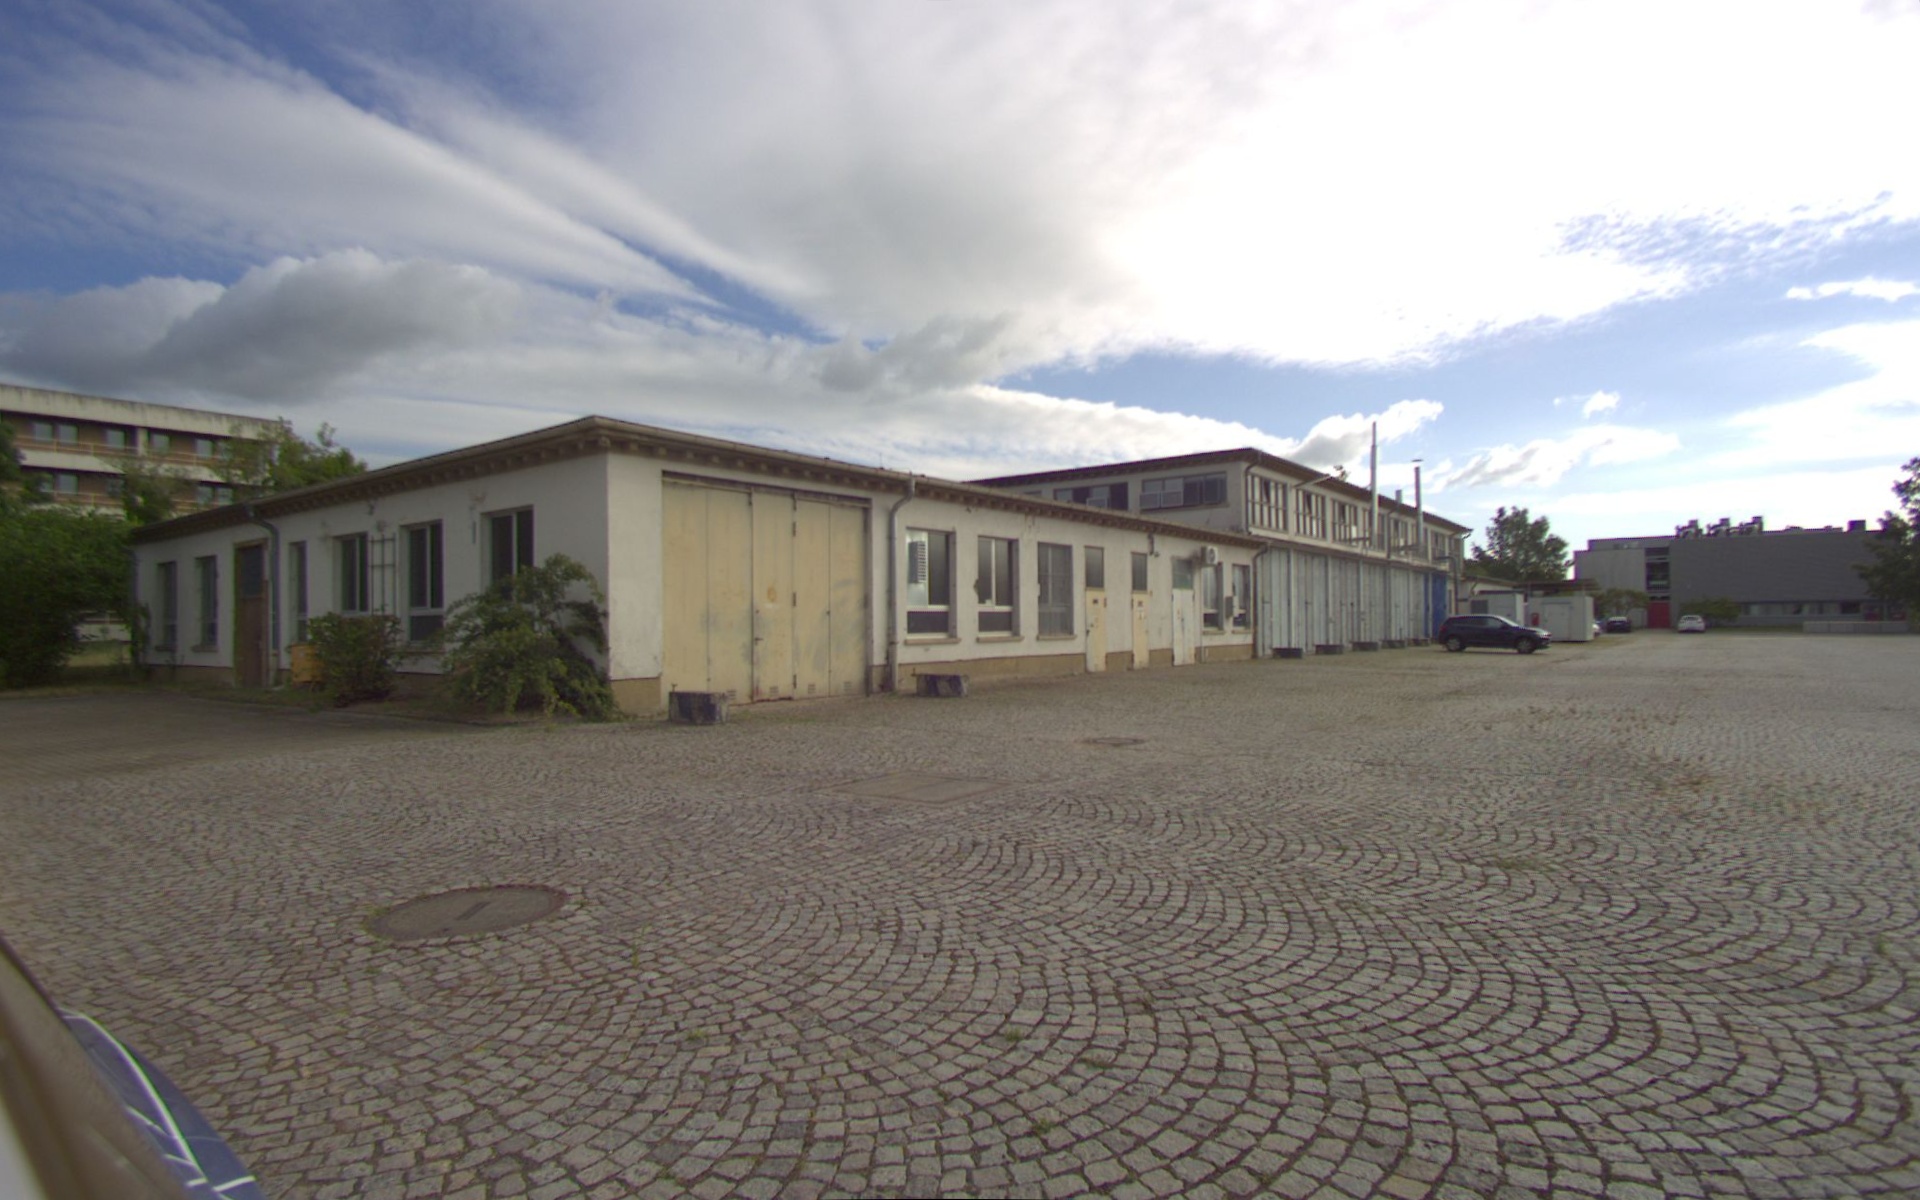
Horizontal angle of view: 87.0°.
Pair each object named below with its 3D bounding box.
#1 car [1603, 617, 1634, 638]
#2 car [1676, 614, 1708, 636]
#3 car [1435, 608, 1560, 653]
[{"bbox_3d":[58.274,2.404,89.546,1.996,1.824,3.951,-2,-2,36],"label":"car"},{"bbox_3d":[62.733,2.143,86.709,2.150,1.824,3.951,-2,-2,36],"label":"car"},{"bbox_3d":[22.711,1.327,42.836,4.428,1.770,1.975,-2,-5,37],"label":"car"}]
